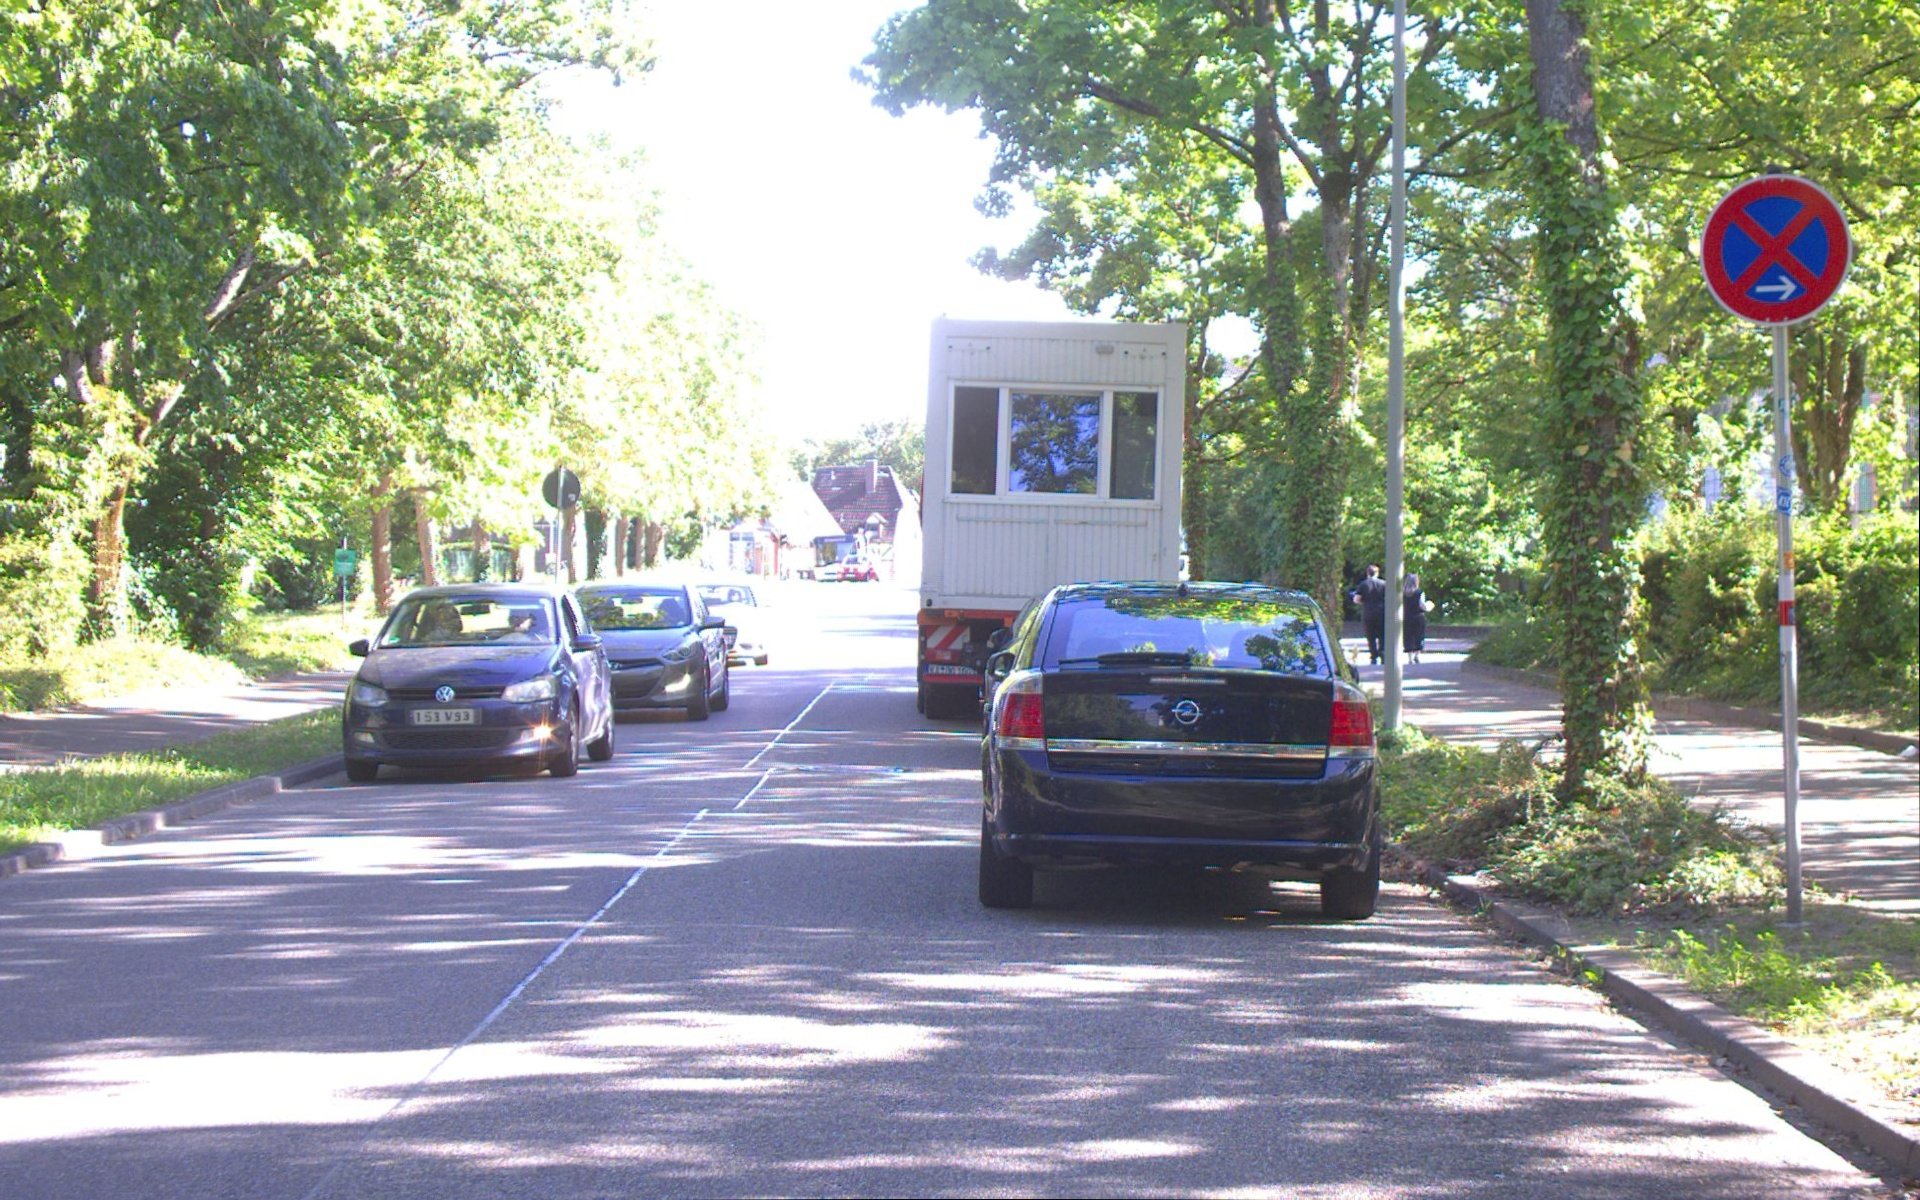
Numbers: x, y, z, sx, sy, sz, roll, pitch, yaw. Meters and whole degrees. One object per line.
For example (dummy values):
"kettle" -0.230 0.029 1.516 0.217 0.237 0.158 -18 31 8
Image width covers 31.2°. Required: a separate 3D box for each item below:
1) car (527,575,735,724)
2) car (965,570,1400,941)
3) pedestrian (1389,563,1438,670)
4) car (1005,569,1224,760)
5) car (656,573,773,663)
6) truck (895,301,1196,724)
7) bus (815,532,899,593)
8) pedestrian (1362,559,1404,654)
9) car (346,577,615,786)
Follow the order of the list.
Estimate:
"car" -3.446 0.486 36.684 1.755 1.449 4.243 -1 1 1
"car" 0.962 0.641 16.093 1.748 1.475 4.030 1 0 2
"pedestrian" 7.741 0.276 58.667 0.698 1.806 0.700 -1 0 -3
"car" 1.237 0.472 28.116 1.640 1.415 4.000 -1 1 2
"car" -4.084 0.274 57.635 1.786 1.412 4.105 -1 1 -2
"truck" 0.742 -0.890 38.238 2.773 3.982 10.349 2 1 -1
"bus" -5.722 -2.107 193.262 4.065 3.338 9.800 -1 1 2
"pedestrian" 7.207 0.101 58.550 0.598 1.605 0.600 -1 0 -3
"car" -3.541 0.560 25.927 1.600 1.421 3.652 -1 1 -2
